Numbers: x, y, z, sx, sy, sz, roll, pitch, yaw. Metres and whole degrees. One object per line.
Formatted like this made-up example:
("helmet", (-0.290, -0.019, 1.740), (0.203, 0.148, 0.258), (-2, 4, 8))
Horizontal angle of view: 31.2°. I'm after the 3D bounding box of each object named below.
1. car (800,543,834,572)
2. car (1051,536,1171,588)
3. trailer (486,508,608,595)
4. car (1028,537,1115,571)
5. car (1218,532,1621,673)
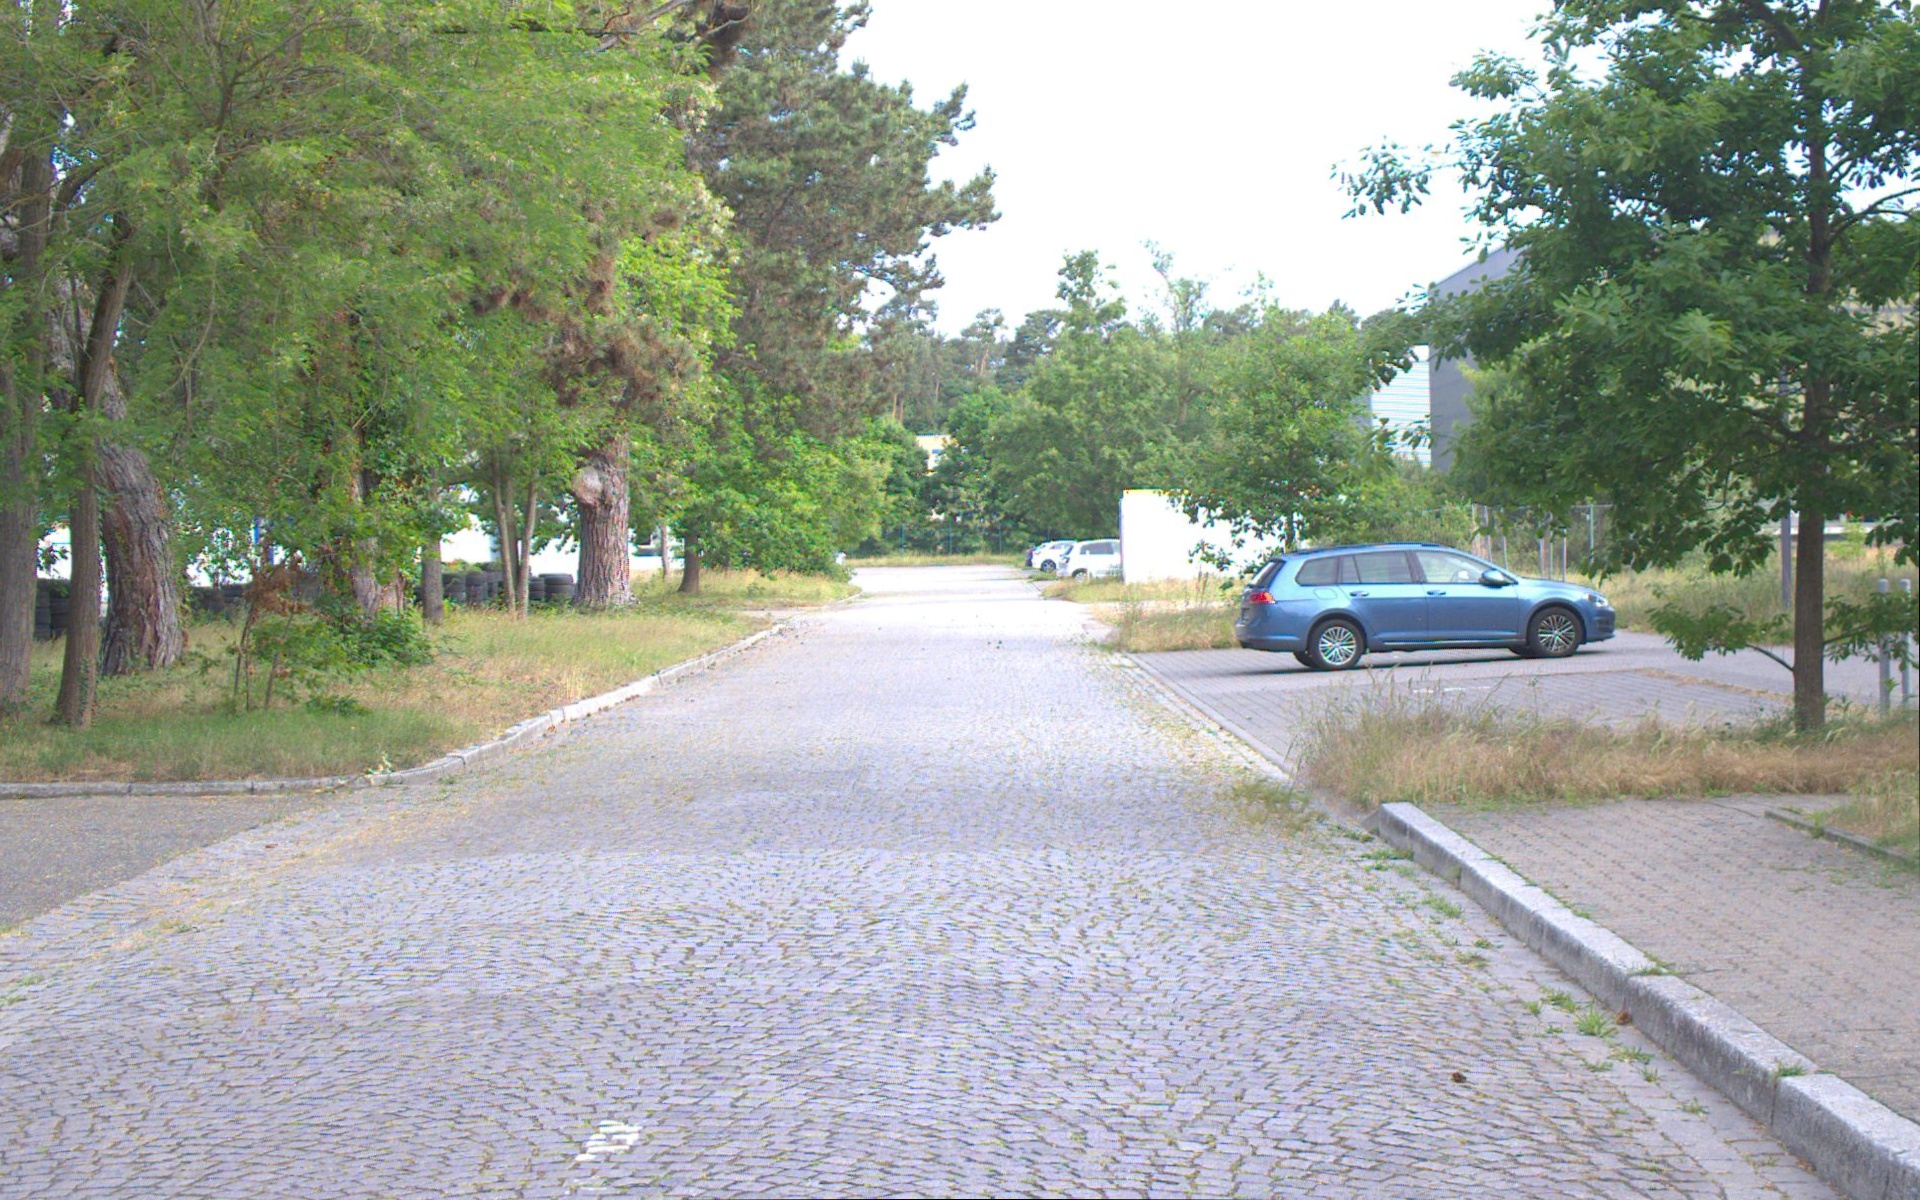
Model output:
("car", (-7.524, -2.232, 180.513), (1.735, 1.464, 4.046), (-1, 1, -2))
("car", (5.042, -1.288, 115.210), (3.849, 1.649, 1.686), (-1, 1, -2))
("trailer", (-15.314, -1.826, 128.031), (3.159, 3.057, 8.784), (-1, 1, 2))
("car", (5.232, -2.170, 161.356), (4.025, 1.496, 1.548), (-1, 1, 1))
("car", (5.522, 0.008, 41.661), (4.521, 1.438, 1.824), (-3, 1, -3))
